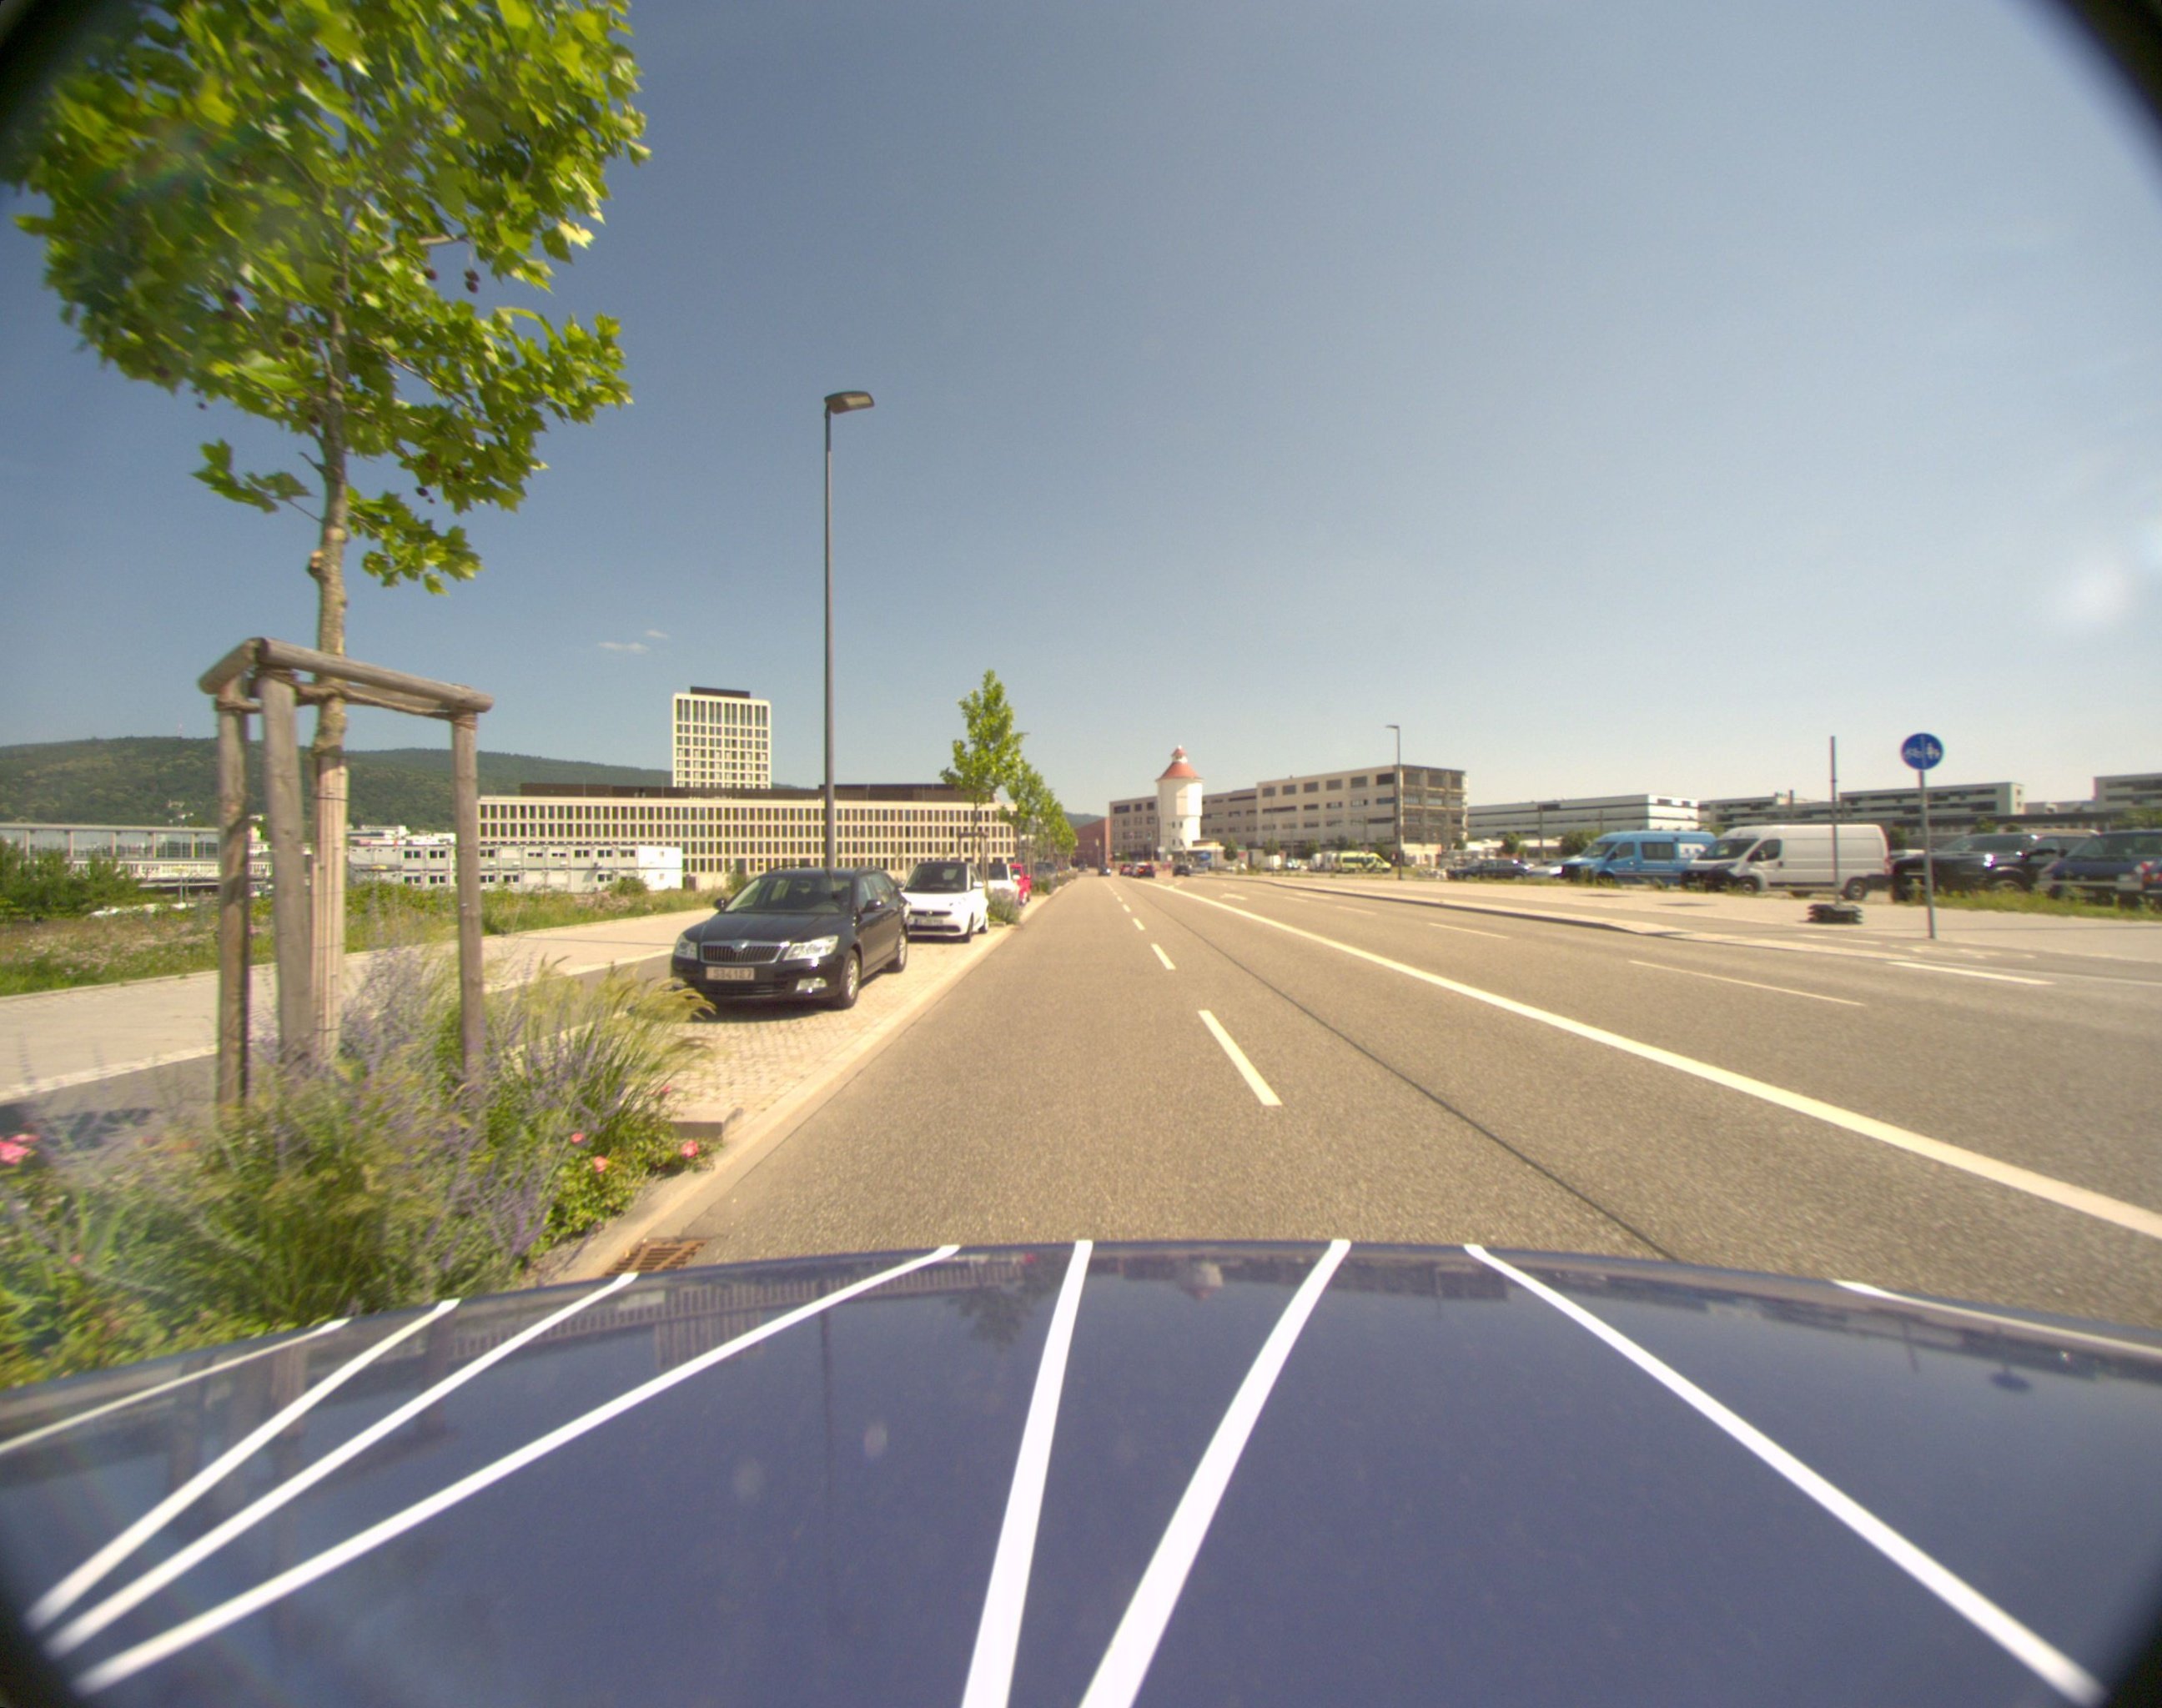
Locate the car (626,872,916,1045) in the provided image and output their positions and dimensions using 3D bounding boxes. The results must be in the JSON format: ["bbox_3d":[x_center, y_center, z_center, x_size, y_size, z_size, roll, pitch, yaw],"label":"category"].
[{"bbox_3d":[-3.255,0.997,9.013,1.794,1.468,4.371,0,0,-2],"label":"car"}]

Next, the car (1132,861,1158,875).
[{"bbox_3d":[6.757,1.463,80.771,1.793,1.390,4.568,-2,1,-8],"label":"car"}]

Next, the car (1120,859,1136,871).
[{"bbox_3d":[7.038,1.592,113.615,1.944,1.778,4.655,0,0,-2],"label":"car"}]

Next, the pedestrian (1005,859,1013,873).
[{"bbox_3d":[-8.237,1.386,86.700,0.752,1.599,0.949,2,0,1],"label":"pedestrian"}]

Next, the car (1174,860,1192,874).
[{"bbox_3d":[12.708,1.608,94.903,1.907,1.618,4.388,0,0,3],"label":"car"}]

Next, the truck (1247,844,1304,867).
[{"bbox_3d":[40.367,0.221,157.810,10.951,4.251,3.341,-2,1,-10],"label":"truck"}]

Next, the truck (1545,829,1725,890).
[{"bbox_3d":[23.714,0.265,32.717,6.018,2.528,2.275,0,0,2],"label":"truck"}]

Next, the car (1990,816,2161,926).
[{"bbox_3d":[23.488,0.348,16.225,5.458,2.160,2.395,0,-1,-3],"label":"car"}]

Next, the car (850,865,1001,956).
[{"bbox_3d":[-2.935,1.018,15.298,1.913,1.568,4.159,-1,0,4],"label":"car"}]

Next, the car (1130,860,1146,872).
[{"bbox_3d":[7.317,1.514,98.041,1.790,1.413,4.282,0,0,1],"label":"car"}]

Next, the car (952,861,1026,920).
[{"bbox_3d":[-2.704,1.034,23.069,1.722,1.516,3.642,1,1,1],"label":"car"}]

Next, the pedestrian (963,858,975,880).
[{"bbox_3d":[-8.829,1.199,60.009,0.782,1.695,0.742,0,0,2],"label":"pedestrian"}]

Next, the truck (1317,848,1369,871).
[{"bbox_3d":[36.029,0.759,104.691,6.160,2.884,2.570,-2,1,2],"label":"truck"}]

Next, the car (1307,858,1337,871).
[{"bbox_3d":[35.658,1.585,112.666,3.876,1.748,1.657,-2,-1,-3],"label":"car"}]

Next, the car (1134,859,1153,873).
[{"bbox_3d":[7.152,1.362,87.790,1.918,1.640,4.731,0,0,1],"label":"car"}]

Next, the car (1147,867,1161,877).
[{"bbox_3d":[12.460,3.006,129.822,1.907,1.487,4.387,-6,-1,0],"label":"car"}]

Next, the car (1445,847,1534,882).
[{"bbox_3d":[22.845,0.610,42.602,3.994,1.892,1.829,0,0,8],"label":"car"}]

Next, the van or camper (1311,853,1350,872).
[{"bbox_3d":[35.776,1.209,109.027,4.912,2.645,2.260,-2,-1,1],"label":"van or camper"}]

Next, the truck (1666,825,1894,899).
[{"bbox_3d":[23.272,0.278,25.470,5.581,2.348,2.275,0,0,-1],"label":"truck"}]

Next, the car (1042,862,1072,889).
[{"bbox_3d":[-1.486,1.317,47.697,1.739,1.599,4.241,1,-1,0],"label":"car"}]

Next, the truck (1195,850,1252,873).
[{"bbox_3d":[29.033,1.511,155.143,10.987,4.044,3.297,-2,1,-17],"label":"truck"}]

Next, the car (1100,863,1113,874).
[{"bbox_3d":[3.721,2.050,109.659,1.783,1.552,3.832,0,0,0],"label":"car"}]

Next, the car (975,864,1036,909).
[{"bbox_3d":[-2.680,1.164,27.817,1.722,1.442,4.001,-2,-2,1],"label":"car"}]

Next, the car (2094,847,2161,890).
[{"bbox_3d":[57.738,0.762,40.765,2.004,2.227,3.990,0,0,-34],"label":"car"}]

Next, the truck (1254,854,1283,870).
[{"bbox_3d":[30.847,1.276,125.154,2.174,2.639,5.938,0,0,-14],"label":"truck"}]

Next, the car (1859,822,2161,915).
[{"bbox_3d":[23.549,0.333,18.943,5.897,2.153,2.395,0,0,0],"label":"car"}]

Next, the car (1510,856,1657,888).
[{"bbox_3d":[23.892,0.842,36.259,5.665,1.465,2.107,0,0,-1],"label":"car"}]

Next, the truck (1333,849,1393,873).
[{"bbox_3d":[35.822,0.898,96.649,6.654,2.809,2.602,-2,-1,-2],"label":"truck"}]

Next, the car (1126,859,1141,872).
[{"bbox_3d":[7.244,1.645,105.151,1.783,1.672,4.099,1,-1,0],"label":"car"}]

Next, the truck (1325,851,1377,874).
[{"bbox_3d":[35.480,1.112,99.865,5.850,2.808,2.570,-2,1,0],"label":"truck"}]

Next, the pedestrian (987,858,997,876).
[{"bbox_3d":[-8.308,1.216,71.001,0.733,1.695,0.651,-2,1,2],"label":"pedestrian"}]
